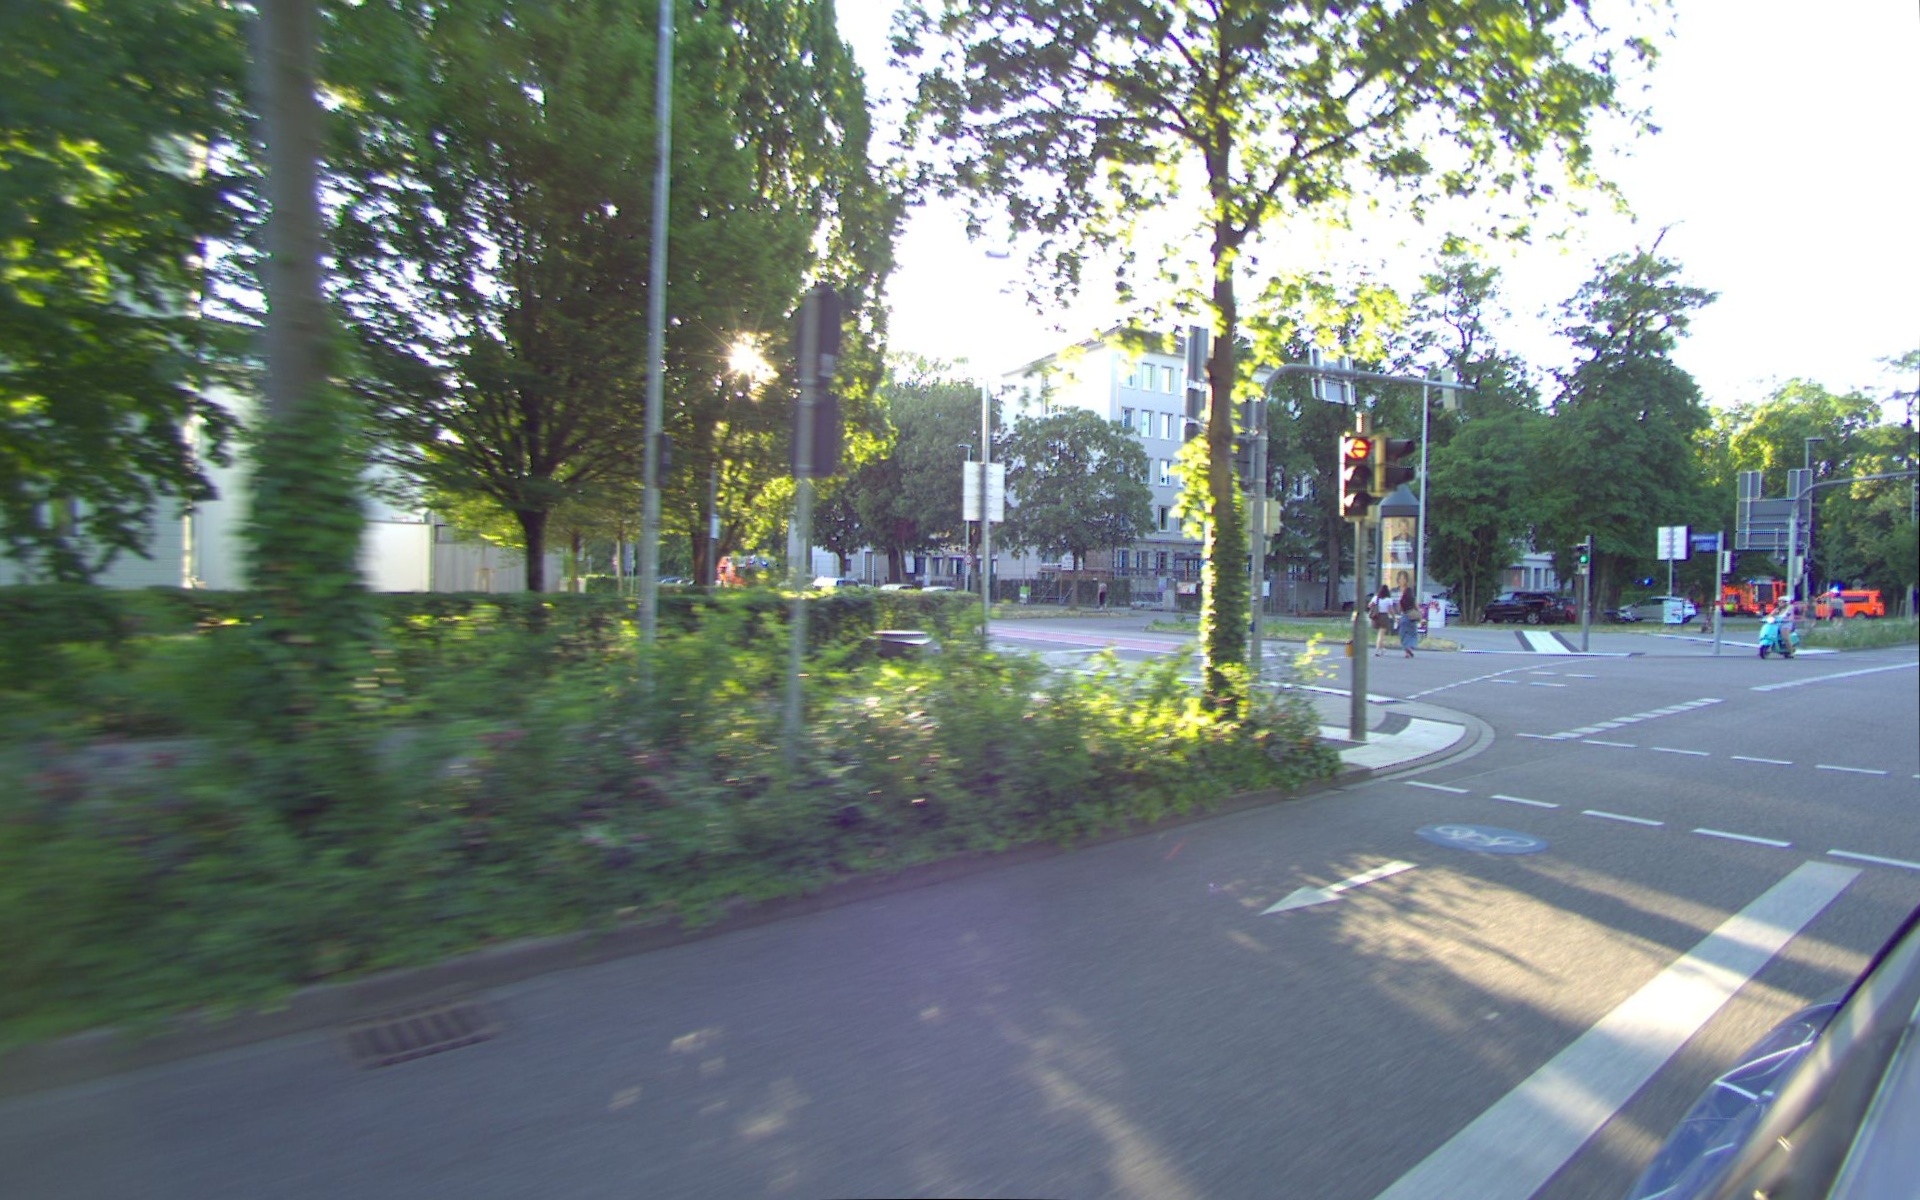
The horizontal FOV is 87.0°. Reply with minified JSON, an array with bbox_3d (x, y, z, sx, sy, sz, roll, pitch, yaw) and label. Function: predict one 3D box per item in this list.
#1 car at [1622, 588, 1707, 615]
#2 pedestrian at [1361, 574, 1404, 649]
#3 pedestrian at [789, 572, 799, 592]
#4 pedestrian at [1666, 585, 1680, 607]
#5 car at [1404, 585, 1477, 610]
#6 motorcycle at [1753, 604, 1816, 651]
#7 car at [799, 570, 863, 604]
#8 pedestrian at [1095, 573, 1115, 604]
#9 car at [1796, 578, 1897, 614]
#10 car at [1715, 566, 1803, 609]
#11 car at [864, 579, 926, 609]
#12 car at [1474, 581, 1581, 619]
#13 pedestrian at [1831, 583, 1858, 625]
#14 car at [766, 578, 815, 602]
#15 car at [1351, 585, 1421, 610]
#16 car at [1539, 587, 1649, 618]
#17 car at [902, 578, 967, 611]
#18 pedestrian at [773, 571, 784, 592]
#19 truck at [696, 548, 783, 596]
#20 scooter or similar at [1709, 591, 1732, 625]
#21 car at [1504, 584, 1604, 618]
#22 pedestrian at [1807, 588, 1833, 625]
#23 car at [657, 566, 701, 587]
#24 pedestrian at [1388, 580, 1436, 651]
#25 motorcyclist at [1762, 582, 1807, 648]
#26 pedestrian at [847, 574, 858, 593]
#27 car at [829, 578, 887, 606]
[{"bbox_3d":[40.593,0.053,58.383,1.632,1.477,3.669,0,1,-32],"label":"car"},{"bbox_3d":[10.204,0.264,24.460,0.676,1.776,0.683,1,0,-37],"label":"pedestrian"},{"bbox_3d":[-13.759,-1.533,83.787,0.674,1.642,0.684,0,1,-25],"label":"pedestrian"},{"bbox_3d":[59.918,-0.326,85.010,0.830,1.865,0.683,1,0,-35],"label":"pedestrian"},{"bbox_3d":[31.183,-0.189,65.769,1.879,1.540,3.923,0,1,-28],"label":"car"},{"bbox_3d":[22.244,0.723,27.301,1.855,1.213,0.685,0,0,-29],"label":"motorcycle"},{"bbox_3d":[-7.691,-0.756,59.928,2.016,1.886,4.497,0,-1,-33],"label":"car"},{"bbox_3d":[8.300,-0.647,58.046,0.690,1.760,0.897,0,1,-29],"label":"pedestrian"},{"bbox_3d":[64.505,-0.323,73.711,1.962,2.422,5.171,0,1,-34],"label":"car"},{"bbox_3d":[63.018,-0.984,79.775,8.133,3.284,2.776,0,1,-31],"label":"car"},{"bbox_3d":[-3.813,-0.381,58.799,1.960,1.632,4.004,0,1,-31],"label":"car"},{"bbox_3d":[28.030,-0.054,50.115,1.881,1.762,4.243,0,1,-32],"label":"car"},{"bbox_3d":[36.376,0.145,41.605,0.763,1.681,0.720,0,1,-42],"label":"pedestrian"},{"bbox_3d":[-11.992,-0.727,71.549,1.961,1.660,4.002,0,1,-33],"label":"car"},{"bbox_3d":[26.512,-0.163,63.051,1.737,1.477,3.628,0,1,-35],"label":"car"},{"bbox_3d":[33.109,0.090,52.946,1.882,1.482,4.522,0,1,-34],"label":"car"},{"bbox_3d":[-1.417,-0.330,54.947,1.862,1.660,4.005,0,1,-30],"label":"car"},{"bbox_3d":[-14.868,-1.509,82.897,0.674,1.642,0.684,0,1,-25],"label":"pedestrian"},{"bbox_3d":[-15.864,-1.951,72.066,2.590,3.179,10.279,0,1,-33],"label":"truck"},{"bbox_3d":[29.558,0.317,39.328,1.157,1.287,0.441,0,1,-38],"label":"scooter or similar"},{"bbox_3d":[30.307,0.010,51.717,1.880,1.631,4.005,0,1,-30],"label":"car"},{"bbox_3d":[35.944,0.266,42.303,0.775,1.542,0.736,0,1,-42],"label":"pedestrian"},{"bbox_3d":[-27.876,-2.360,100.447,3.743,1.804,1.931,-5,2,-38],"label":"car"},{"bbox_3d":[10.632,0.357,23.808,0.829,1.642,0.683,1,0,-37],"label":"pedestrian"},{"bbox_3d":[22.248,0.398,27.308,0.676,1.759,0.741,1,0,-29],"label":"motorcyclist"},{"bbox_3d":[-9.014,-1.394,85.088,0.670,1.642,0.689,0,1,-33],"label":"pedestrian"},{"bbox_3d":[-6.369,-0.515,63.056,1.961,1.660,4.002,0,1,-33],"label":"car"}]
